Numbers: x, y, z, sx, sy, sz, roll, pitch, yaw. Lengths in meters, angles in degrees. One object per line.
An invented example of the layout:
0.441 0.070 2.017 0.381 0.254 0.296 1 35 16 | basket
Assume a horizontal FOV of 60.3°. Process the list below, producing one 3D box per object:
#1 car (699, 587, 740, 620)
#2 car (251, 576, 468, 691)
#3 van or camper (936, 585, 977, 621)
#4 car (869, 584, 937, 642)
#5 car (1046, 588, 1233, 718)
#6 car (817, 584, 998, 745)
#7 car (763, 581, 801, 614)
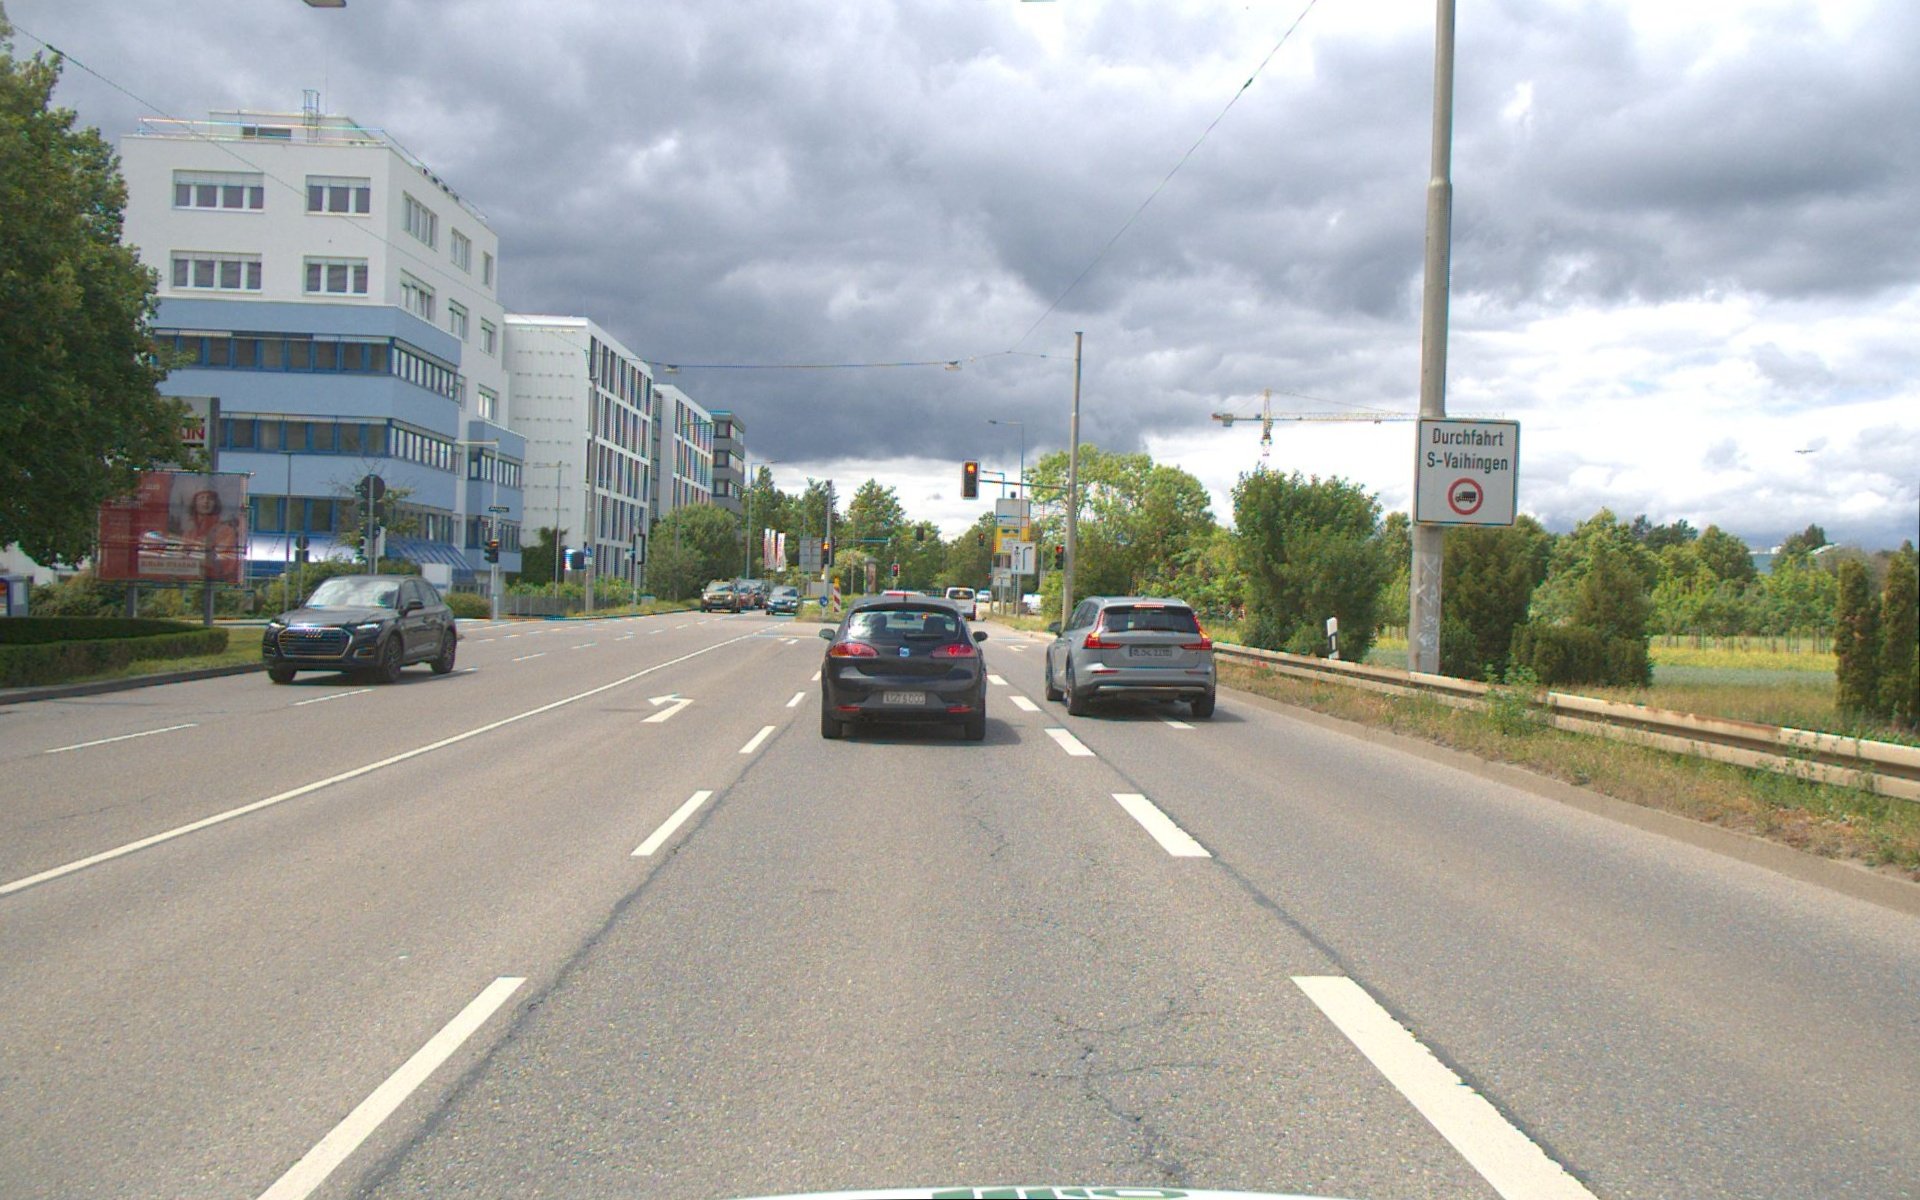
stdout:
-12.402 0.154 85.495 1.716 1.659 3.998 0 0 -3 | car
-9.440 0.496 26.426 1.829 1.643 4.570 1 0 -1 | car
-0.224 0.187 96.991 1.863 1.960 3.992 1 -2 -8 | van or camper
-1.782 0.354 50.461 1.944 1.618 4.223 2 1 -3 | car
2.266 0.651 21.962 1.918 1.552 4.338 0 0 -1 | car
-0.486 0.639 18.170 1.712 1.509 4.000 2 0 1 | car
-9.033 -0.146 84.209 1.635 1.551 4.006 -1 2 -3 | car
